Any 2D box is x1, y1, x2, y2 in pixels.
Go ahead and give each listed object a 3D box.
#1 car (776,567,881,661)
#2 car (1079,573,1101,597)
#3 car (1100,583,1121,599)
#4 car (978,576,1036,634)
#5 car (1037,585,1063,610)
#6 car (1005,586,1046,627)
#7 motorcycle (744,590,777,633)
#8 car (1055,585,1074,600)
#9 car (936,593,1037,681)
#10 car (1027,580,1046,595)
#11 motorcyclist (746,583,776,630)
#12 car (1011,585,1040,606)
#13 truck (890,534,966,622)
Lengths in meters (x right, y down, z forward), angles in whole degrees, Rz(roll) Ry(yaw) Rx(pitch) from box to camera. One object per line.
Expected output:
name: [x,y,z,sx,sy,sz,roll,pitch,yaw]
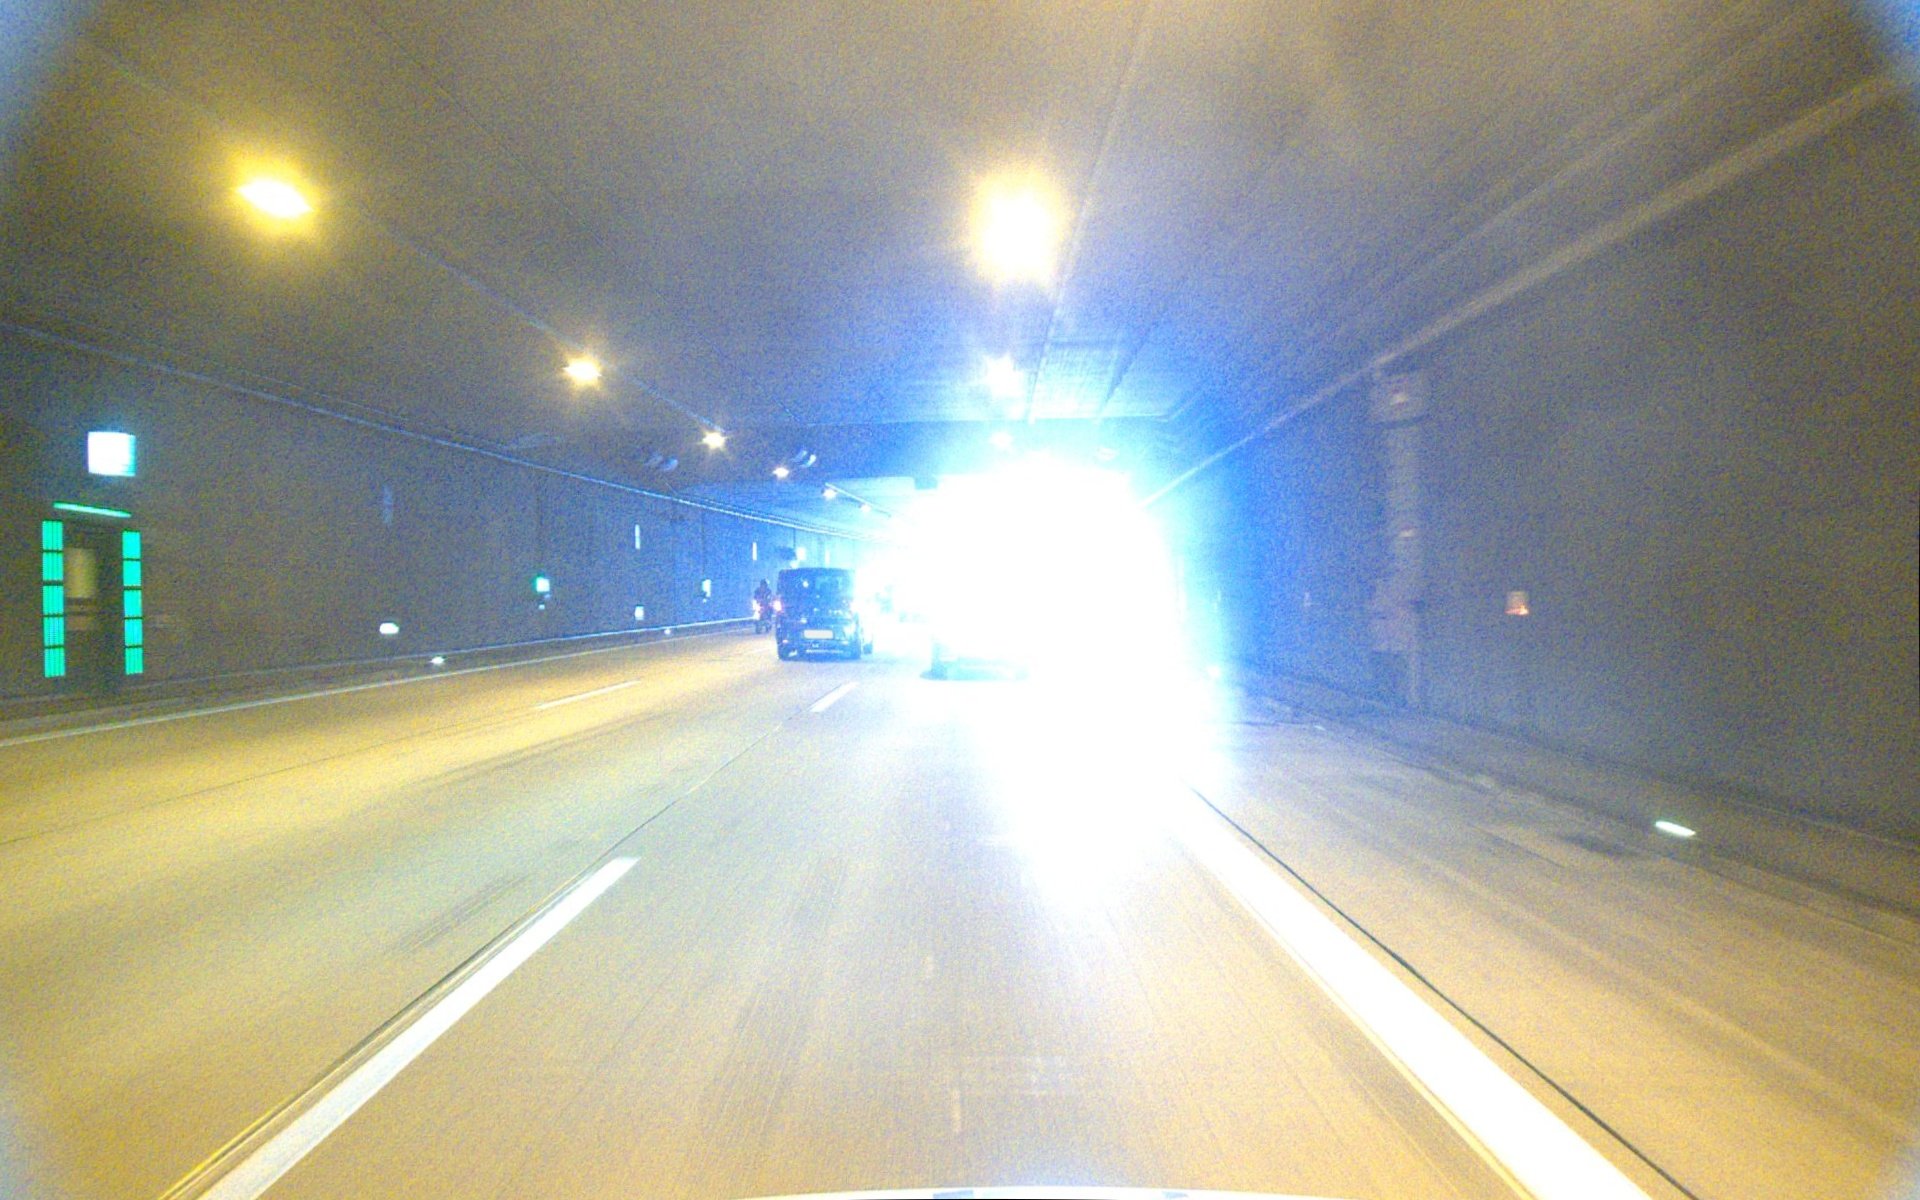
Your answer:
car: [-2.879,0.289,36.957,1.870,1.978,3.872,0,0,3]
car: [11.935,-1.345,151.922,1.951,2.049,4.002,0,-2,5]
car: [15.884,-0.918,174.360,1.889,1.671,4.003,1,0,10]
car: [1.648,0.161,57.012,1.818,1.887,4.002,1,0,4]
car: [6.688,-0.181,122.369,1.890,1.671,4.001,0,-2,3]
car: [3.130,0.312,78.370,1.909,1.803,4.001,0,-2,3]
motorcycle: [-6.431,0.388,53.517,0.668,1.320,2.399,0,-2,3]
car: [12.908,-0.954,203.967,1.889,1.671,4.003,0,-2,11]
car: [0.484,0.622,30.163,1.706,1.489,3.871,0,0,1]
car: [8.782,-1.367,189.132,1.890,1.671,4.003,1,0,6]
motorcyclist: [-6.438,0.205,53.505,0.761,1.478,1.069,0,-2,3]
car: [5.578,-0.386,140.403,1.951,1.660,4.003,0,-1,10]
truck: [-1.341,-0.931,73.994,2.976,3.737,7.394,1,0,2]
